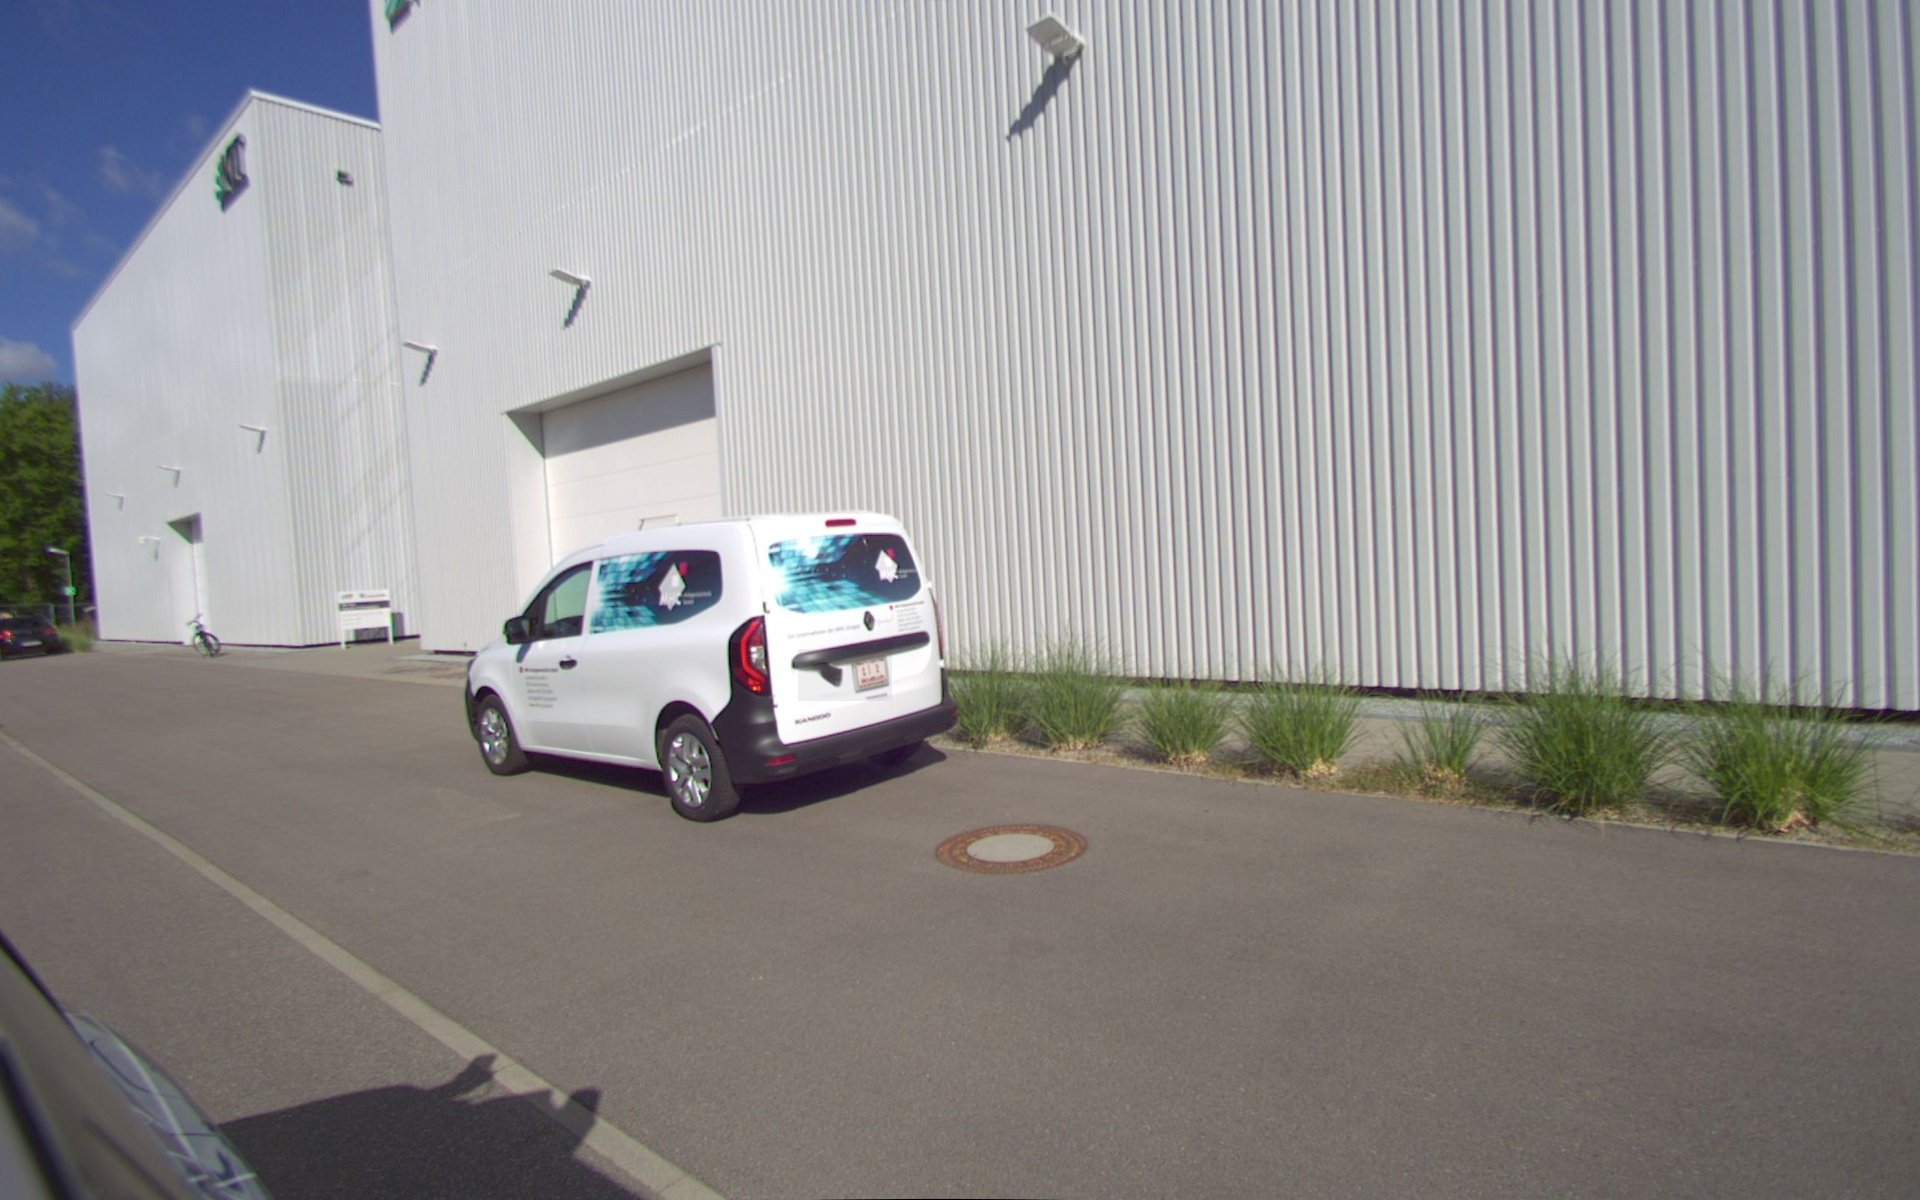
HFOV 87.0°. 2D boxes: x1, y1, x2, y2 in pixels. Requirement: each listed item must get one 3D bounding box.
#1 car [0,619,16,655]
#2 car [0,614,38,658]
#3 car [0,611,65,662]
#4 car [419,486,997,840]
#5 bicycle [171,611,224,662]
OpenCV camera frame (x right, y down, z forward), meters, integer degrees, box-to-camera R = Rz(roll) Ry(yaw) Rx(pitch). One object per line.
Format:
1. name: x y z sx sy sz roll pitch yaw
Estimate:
1. car: -41.731 1.609 43.216 4.001 1.450 1.766 -1 2 44
2. car: -37.570 1.445 39.624 4.001 1.532 1.767 -1 5 44
3. car: -33.579 1.302 36.218 4.001 1.532 1.871 -1 5 44
4. car: -2.057 0.305 7.477 4.356 1.858 1.872 -2 4 41
5. bicycle: -20.399 0.948 27.121 0.895 1.151 1.905 -8 5 -33
